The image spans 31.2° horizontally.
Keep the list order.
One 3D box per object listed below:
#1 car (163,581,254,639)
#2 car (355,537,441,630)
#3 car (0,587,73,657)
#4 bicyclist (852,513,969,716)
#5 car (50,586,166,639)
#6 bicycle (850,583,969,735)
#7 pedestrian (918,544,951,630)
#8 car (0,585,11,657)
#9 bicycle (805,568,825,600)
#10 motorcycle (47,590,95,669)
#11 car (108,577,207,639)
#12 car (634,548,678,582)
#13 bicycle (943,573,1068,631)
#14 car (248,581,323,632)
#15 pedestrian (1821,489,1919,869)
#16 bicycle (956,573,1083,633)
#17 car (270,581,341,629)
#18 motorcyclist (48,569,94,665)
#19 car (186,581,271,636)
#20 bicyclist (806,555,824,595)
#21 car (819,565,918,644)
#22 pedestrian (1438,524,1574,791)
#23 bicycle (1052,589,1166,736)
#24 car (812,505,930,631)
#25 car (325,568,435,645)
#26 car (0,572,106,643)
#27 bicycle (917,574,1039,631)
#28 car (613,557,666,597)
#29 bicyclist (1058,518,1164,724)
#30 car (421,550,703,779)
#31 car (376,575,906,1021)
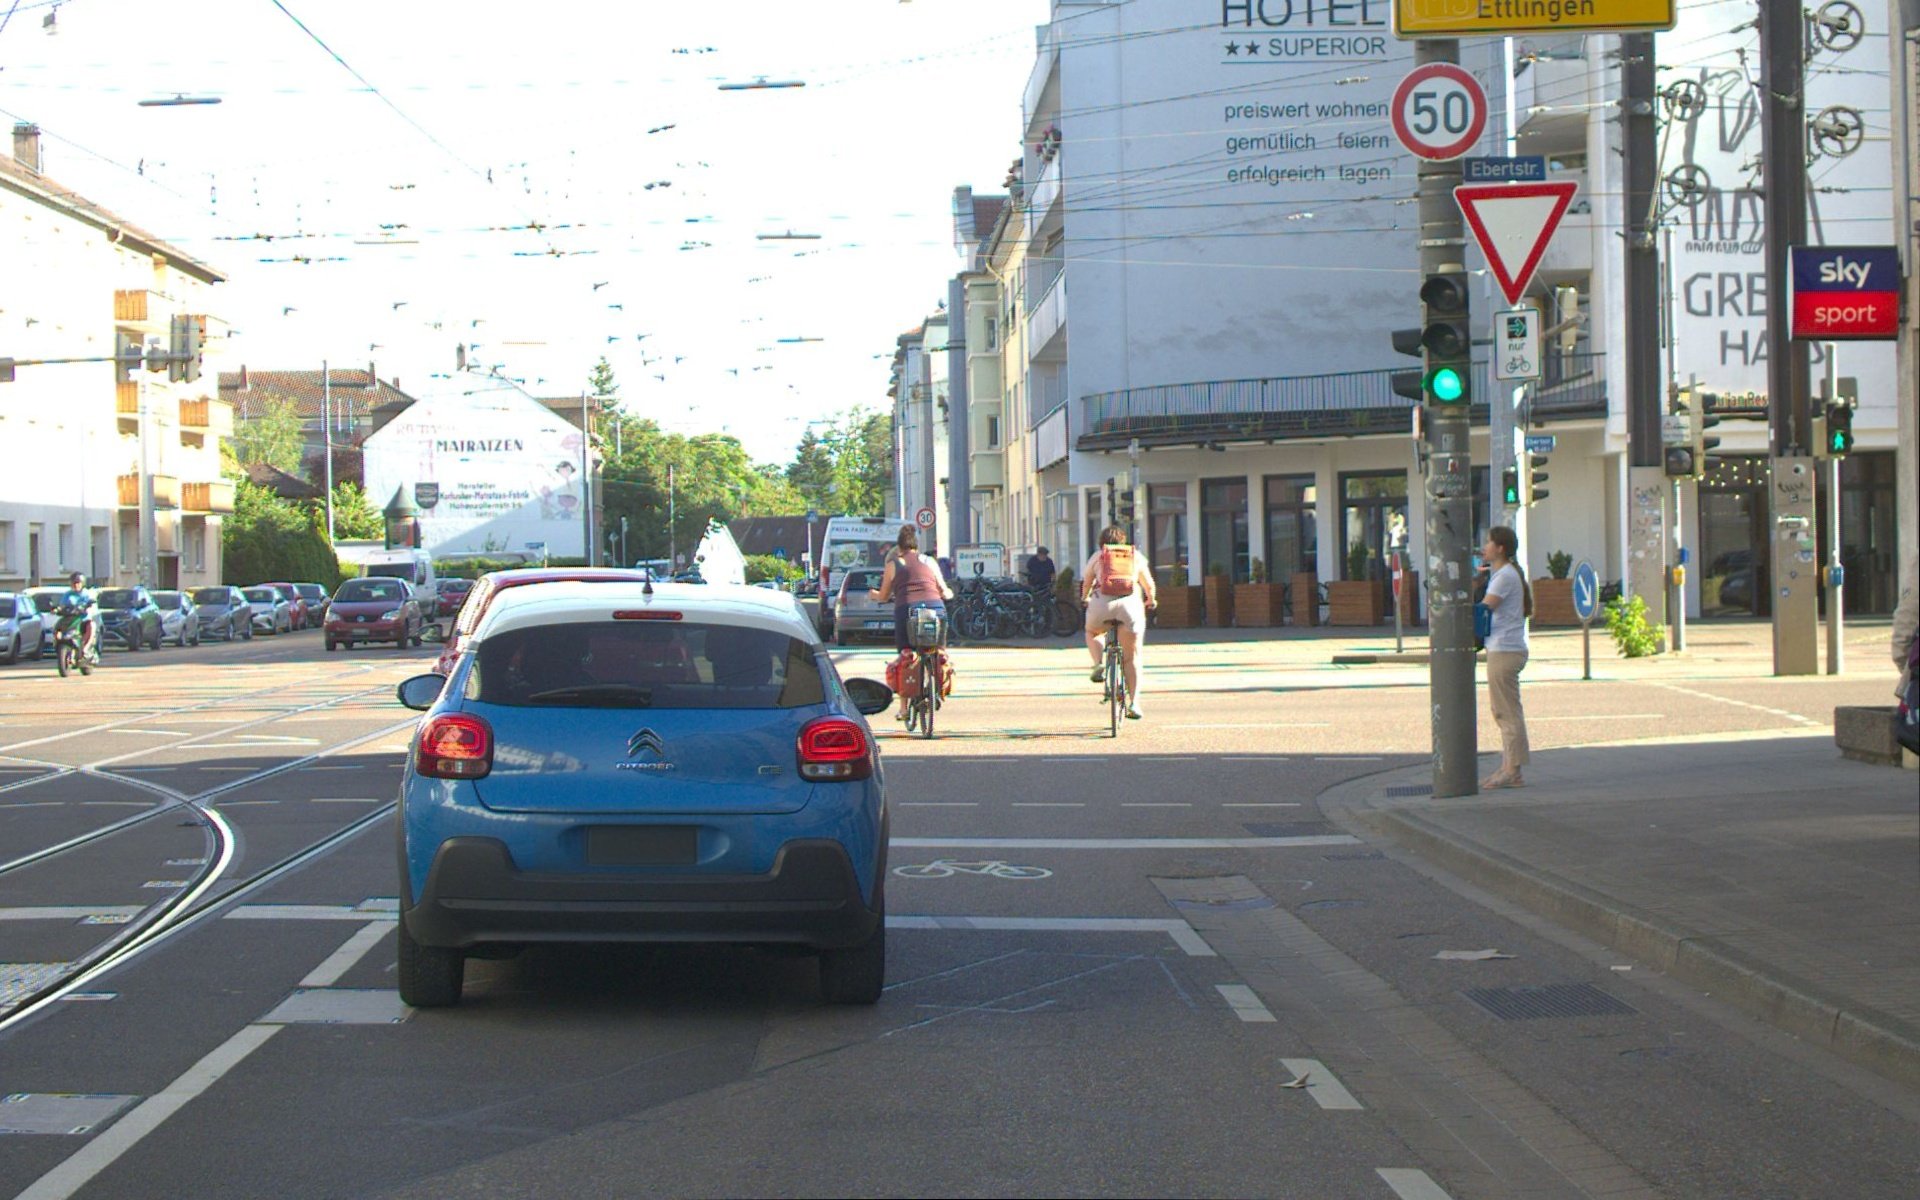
[{"bbox_3d":[-21.055,0.257,96.426,1.869,1.571,4.000,1,0,-4],"label":"car"},{"bbox_3d":[-19.371,-0.559,118.650,2.418,3.131,3.488,1,0,-1],"label":"car"},{"bbox_3d":[-20.276,0.443,72.838,1.903,1.432,4.102,1,0,0],"label":"car"},{"bbox_3d":[-0.406,0.118,29.061,0.940,1.667,1.079,1,0,0],"label":"bicyclist"},{"bbox_3d":[-20.851,0.299,84.315,1.946,1.235,4.283,1,0,-3],"label":"car"},{"bbox_3d":[-0.412,0.477,29.057,0.940,1.219,2.094,1,0,0],"label":"bicycle"},{"bbox_3d":[-0.497,-0.253,67.190,0.613,1.648,0.671,1,0,0],"label":"pedestrian"},{"bbox_3d":[-20.166,0.376,67.300,2.153,1.427,4.440,1,-1,-3],"label":"car"},{"bbox_3d":[-7.505,-0.825,177.613,0.791,1.664,2.229,1,0,3],"label":"bicycle"},{"bbox_3d":[-14.041,0.479,54.325,0.711,1.216,1.966,-1,-1,-14],"label":"motorcycle"},{"bbox_3d":[-21.056,0.200,90.362,1.869,1.571,4.000,1,0,-4],"label":"car"},{"bbox_3d":[-16.383,-1.882,185.474,2.074,1.756,5.037,1,0,-1],"label":"car"},{"bbox_3d":[0.846,0.033,64.668,2.251,0.998,0.856,-2,0,-3],"label":"bicycle"},{"bbox_3d":[-21.756,0.189,111.033,1.869,1.571,4.000,1,0,-4],"label":"car"},{"bbox_3d":[4.350,0.308,14.922,0.884,1.586,0.811,-3,1,-6],"label":"pedestrian"},{"bbox_3d":[1.088,0.052,63.291,2.251,0.998,0.856,-2,0,-3],"label":"bicycle"},{"bbox_3d":[-22.118,0.163,116.327,1.869,1.571,4.001,1,0,-4],"label":"car"},{"bbox_3d":[-14.039,0.272,54.303,0.693,1.491,0.684,-1,-1,-14],"label":"motorcyclist"},{"bbox_3d":[-21.432,0.233,100.877,1.869,1.571,4.000,1,0,-4],"label":"car"},{"bbox_3d":[-7.497,-1.290,177.614,0.791,2.018,0.986,1,0,3],"label":"bicyclist"},{"bbox_3d":[-1.761,0.078,65.276,1.657,1.426,3.889,1,0,-5],"label":"car"},{"bbox_3d":[3.435,0.356,21.598,0.540,1.618,0.732,-6,-2,23],"label":"pedestrian"},{"bbox_3d":[1.266,0.506,28.916,0.811,1.177,2.063,1,0,6],"label":"bicycle"},{"bbox_3d":[-1.862,-0.648,70.402,2.265,2.473,5.009,0,0,-3],"label":"car"},{"bbox_3d":[-11.835,0.125,70.318,1.778,1.481,3.829,-1,0,-3],"label":"car"},{"bbox_3d":[-20.573,0.150,77.432,1.741,1.521,4.230,1,0,-2],"label":"car"},{"bbox_3d":[0.345,0.047,65.768,2.251,0.998,0.856,-2,0,-3],"label":"bicycle"},{"bbox_3d":[-15.635,-1.121,168.114,2.218,1.925,4.949,1,0,-1],"label":"car"},{"bbox_3d":[1.274,0.172,28.870,0.811,1.686,0.935,1,0,6],"label":"bicyclist"},{"bbox_3d":[-2.998,0.421,25.291,1.784,1.516,3.763,1,1,-11],"label":"car"},{"bbox_3d":[-1.312,0.631,13.094,1.736,1.447,3.663,0,0,-9],"label":"car"}]
